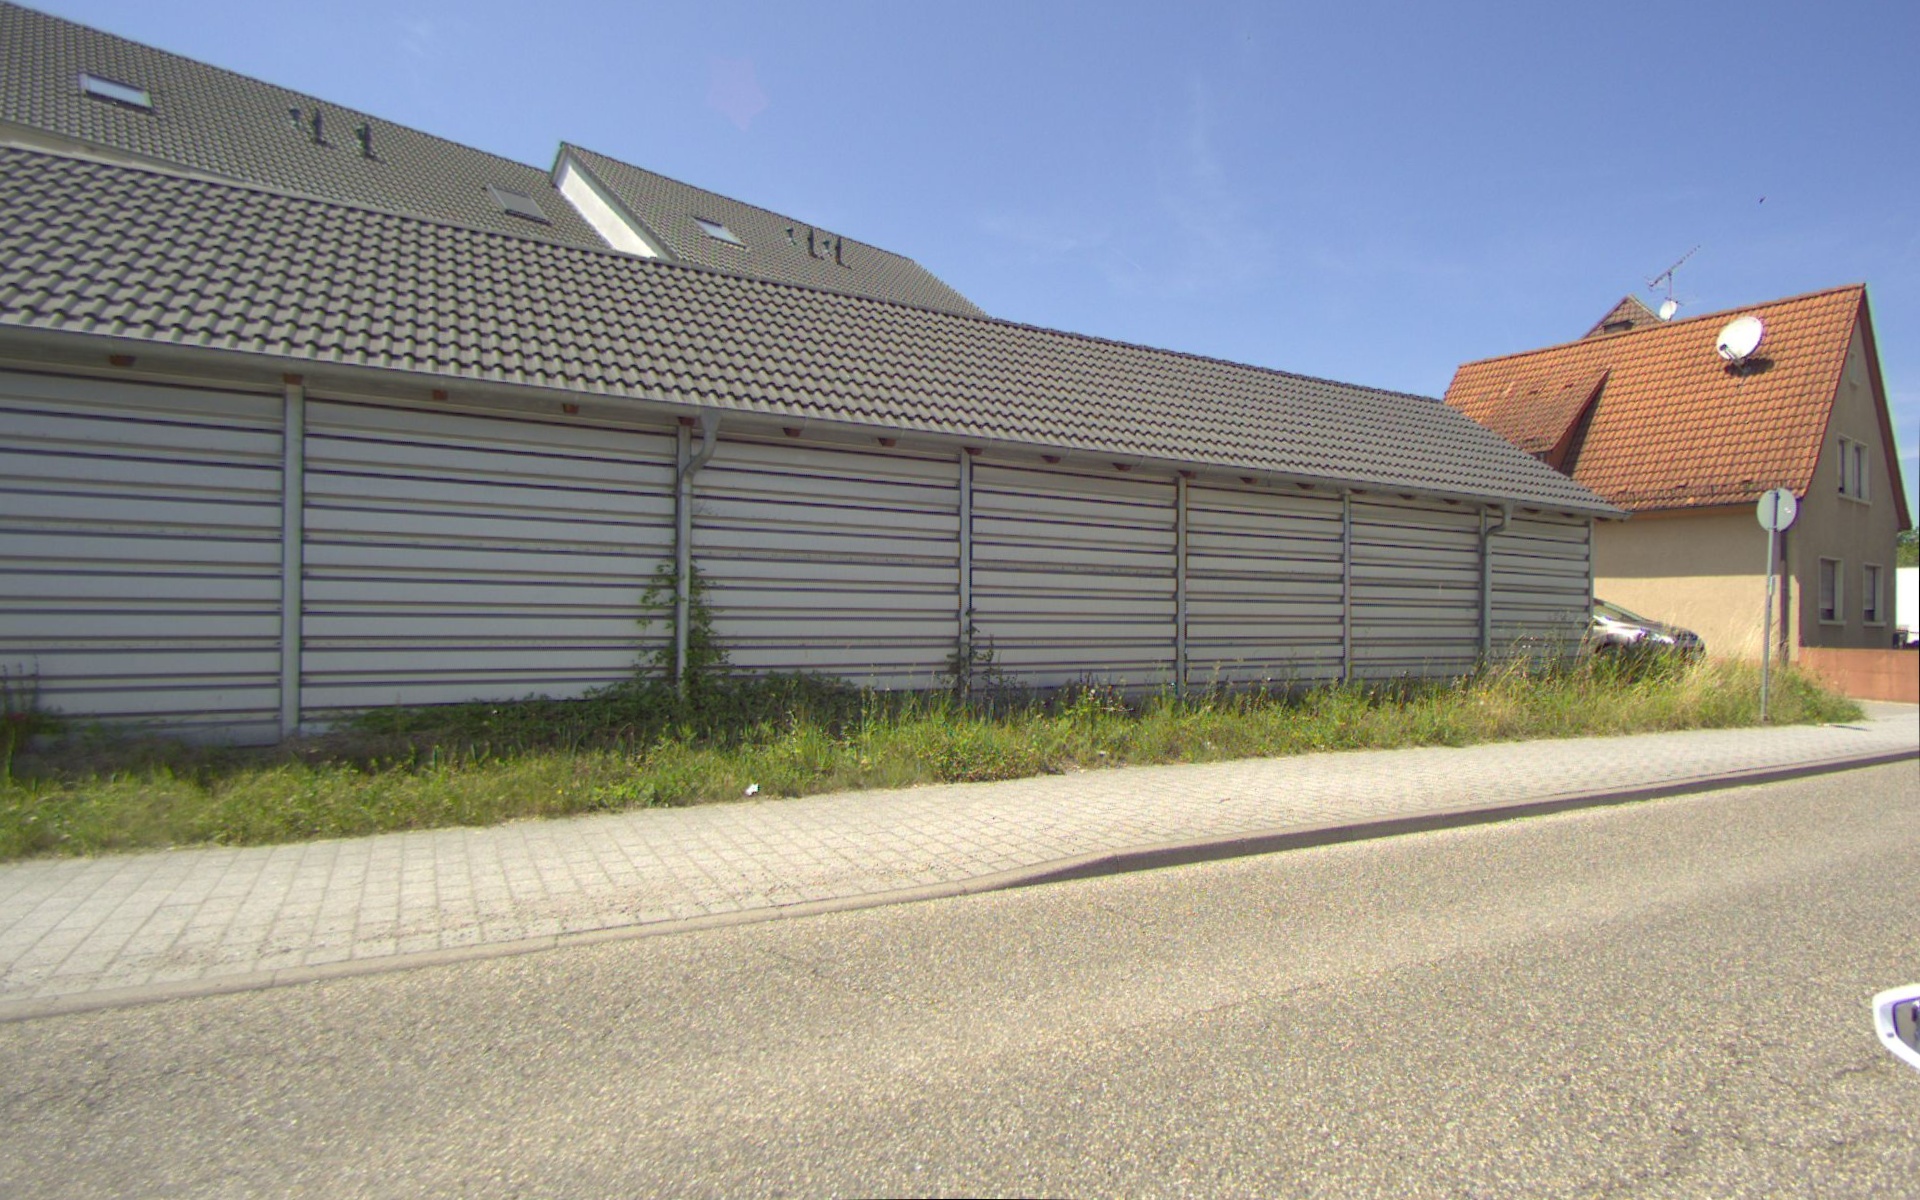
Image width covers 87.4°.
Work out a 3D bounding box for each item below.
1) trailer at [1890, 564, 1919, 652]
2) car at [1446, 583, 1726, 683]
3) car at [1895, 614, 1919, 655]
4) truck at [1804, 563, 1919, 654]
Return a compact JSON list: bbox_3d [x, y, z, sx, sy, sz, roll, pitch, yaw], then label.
[{"bbox_3d":[48.931,0.365,44.494,3.083,4.333,12.486,2,-1,-5],"label":"trailer"},{"bbox_3d":[11.551,0.610,18.836,1.842,1.659,4.108,1,-2,-28],"label":"car"},{"bbox_3d":[43.963,1.565,43.830,1.845,1.809,4.515,0,0,-8],"label":"car"},{"bbox_3d":[47.972,0.491,51.954,3.061,4.459,5.920,2,-1,-13],"label":"truck"}]
